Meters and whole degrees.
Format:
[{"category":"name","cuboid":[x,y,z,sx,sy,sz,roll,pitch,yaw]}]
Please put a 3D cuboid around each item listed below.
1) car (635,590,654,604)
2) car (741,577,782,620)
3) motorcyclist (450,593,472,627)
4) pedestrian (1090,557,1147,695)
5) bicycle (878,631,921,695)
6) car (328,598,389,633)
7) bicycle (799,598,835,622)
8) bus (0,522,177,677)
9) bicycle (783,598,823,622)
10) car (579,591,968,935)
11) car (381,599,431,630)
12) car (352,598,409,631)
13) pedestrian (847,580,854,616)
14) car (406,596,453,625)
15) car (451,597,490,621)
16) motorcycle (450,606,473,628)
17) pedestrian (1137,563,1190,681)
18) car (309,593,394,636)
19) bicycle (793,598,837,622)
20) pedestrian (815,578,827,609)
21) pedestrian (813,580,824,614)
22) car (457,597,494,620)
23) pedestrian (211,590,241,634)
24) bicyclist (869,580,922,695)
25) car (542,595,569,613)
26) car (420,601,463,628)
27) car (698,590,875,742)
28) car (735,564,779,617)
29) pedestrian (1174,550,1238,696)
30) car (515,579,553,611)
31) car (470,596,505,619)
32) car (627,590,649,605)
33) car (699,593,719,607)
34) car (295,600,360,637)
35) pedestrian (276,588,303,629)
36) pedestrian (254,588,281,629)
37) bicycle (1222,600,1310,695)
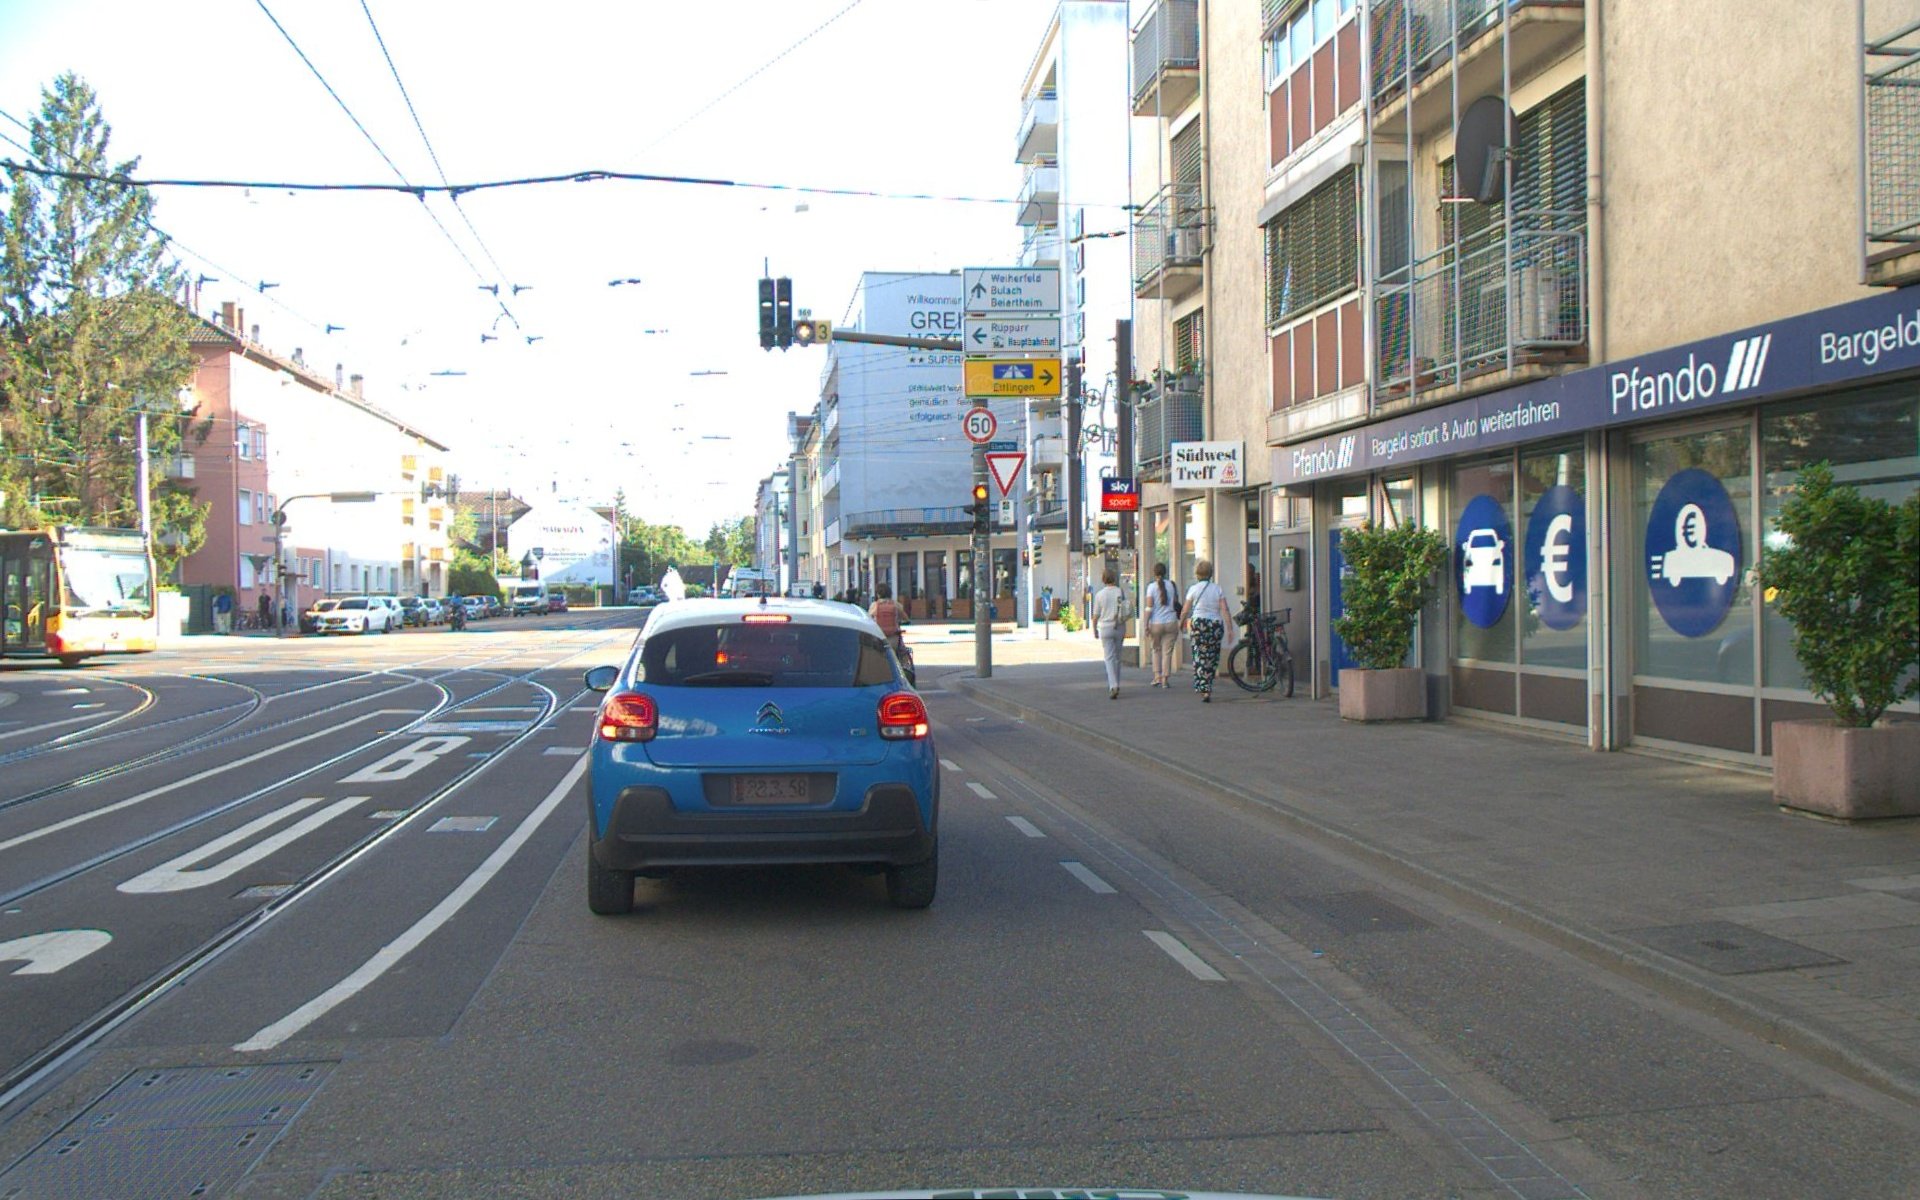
[{"category":"car","cuboid":[-35.956,-0.368,188.745,1.984,1.552,3.992,-1,1,-9]},{"category":"car","cuboid":[-8.548,-0.071,71.216,1.700,1.780,3.208,0,0,-8]},{"category":"motorcyclist","cuboid":[-21.041,0.419,69.724,0.705,1.402,0.910,-1,0,-5]},{"category":"pedestrian","cuboid":[2.012,0.320,21.039,0.531,1.701,0.623,-3,2,-7]},{"category":"bicycle","cuboid":[-0.921,0.930,24.934,0.489,0.879,1.746,-1,0,-7]},{"category":"car","cuboid":[-27.815,0.680,76.586,1.876,1.523,3.992,-1,1,-9]},{"category":"bicycle","cuboid":[-6.044,0.431,69.895,1.474,0.973,0.701,-1,0,-4]},{"category":"bus","cuboid":[-22.532,0.034,37.302,9.953,3.213,2.731,-1,0,22]},{"category":"bicycle","cuboid":[-6.846,0.431,72.250,1.686,0.973,0.701,-1,0,-4]},{"category":"car","cuboid":[-1.166,0.702,9.310,1.712,1.488,3.990,0,0,-10]},{"category":"car","cuboid":[-29.406,0.755,87.885,1.876,1.523,3.992,-1,1,-9]},{"category":"car","cuboid":[-28.407,0.701,81.171,1.876,1.523,3.992,-1,1,-9]},{"category":"pedestrian","cuboid":[-4.906,-0.093,74.144,0.279,1.583,0.304,-1,0,-14]},{"category":"car","cuboid":[-30.105,0.576,93.980,1.876,1.523,3.992,-1,1,-9]},{"category":"car","cuboid":[-31.921,0.576,107.838,1.876,1.523,3.992,-1,1,-9]},{"category":"motorcycle","cuboid":[-21.059,0.711,69.878,0.603,0.879,1.669,-1,1,-5]},{"category":"pedestrian","cuboid":[2.748,0.286,22.400,0.531,1.534,0.610,-3,2,-7]},{"category":"car","cuboid":[-23.838,0.534,65.003,1.812,1.601,4.399,-1,0,-2]},{"category":"bicycle","cuboid":[-6.221,0.429,70.942,1.836,0.973,0.701,-1,0,-4]},{"category":"pedestrian","cuboid":[-7.053,-0.322,83.734,0.483,1.583,0.645,-1,0,-14]},{"category":"pedestrian","cuboid":[-6.605,-0.129,77.289,0.482,1.583,0.383,-1,0,-8]},{"category":"car","cuboid":[-32.986,0.574,112.758,1.876,1.523,3.992,-1,1,-9]},{"category":"pedestrian","cuboid":[-28.589,0.463,64.446,0.827,1.720,0.737,-1,0,-2]},{"category":"bicyclist","cuboid":[-0.962,0.542,24.502,0.712,1.674,0.789,-1,0,-5]},{"category":"car","cuboid":[-35.712,0.328,146.081,1.984,1.552,3.992,-1,1,-9]},{"category":"car","cuboid":[-31.147,0.842,99.477,1.876,1.523,3.992,-1,1,-9]},{"category":"car","cuboid":[-1.851,0.631,18.115,1.704,1.445,3.996,-1,1,-5]},{"category":"car","cuboid":[-9.379,-0.427,76.073,1.956,2.366,3.993,0,0,-8]},{"category":"pedestrian","cuboid":[2.945,0.270,19.835,0.531,1.701,0.649,-3,1,-7]},{"category":"car","cuboid":[-31.214,-0.387,121.184,2.166,2.290,4.668,-1,1,-9]},{"category":"car","cuboid":[-33.650,0.517,117.807,1.835,1.601,3.993,-1,0,-8]},{"category":"car","cuboid":[-33.306,-0.248,171.232,1.984,1.552,3.992,-1,1,-9]},{"category":"car","cuboid":[-24.058,-0.015,158.408,1.724,1.281,3.821,-1,1,-12]},{"category":"car","cuboid":[-27.068,0.766,70.908,1.876,1.458,3.990,-1,1,-10]},{"category":"pedestrian","cuboid":[-28.326,0.365,69.864,0.827,1.720,0.737,-1,0,-2]},{"category":"pedestrian","cuboid":[-29.176,0.365,69.680,0.827,1.720,0.737,-1,0,-2]},{"category":"bicycle","cuboid":[3.755,0.558,20.423,0.520,1.091,1.808,-1,0,-8]}]
